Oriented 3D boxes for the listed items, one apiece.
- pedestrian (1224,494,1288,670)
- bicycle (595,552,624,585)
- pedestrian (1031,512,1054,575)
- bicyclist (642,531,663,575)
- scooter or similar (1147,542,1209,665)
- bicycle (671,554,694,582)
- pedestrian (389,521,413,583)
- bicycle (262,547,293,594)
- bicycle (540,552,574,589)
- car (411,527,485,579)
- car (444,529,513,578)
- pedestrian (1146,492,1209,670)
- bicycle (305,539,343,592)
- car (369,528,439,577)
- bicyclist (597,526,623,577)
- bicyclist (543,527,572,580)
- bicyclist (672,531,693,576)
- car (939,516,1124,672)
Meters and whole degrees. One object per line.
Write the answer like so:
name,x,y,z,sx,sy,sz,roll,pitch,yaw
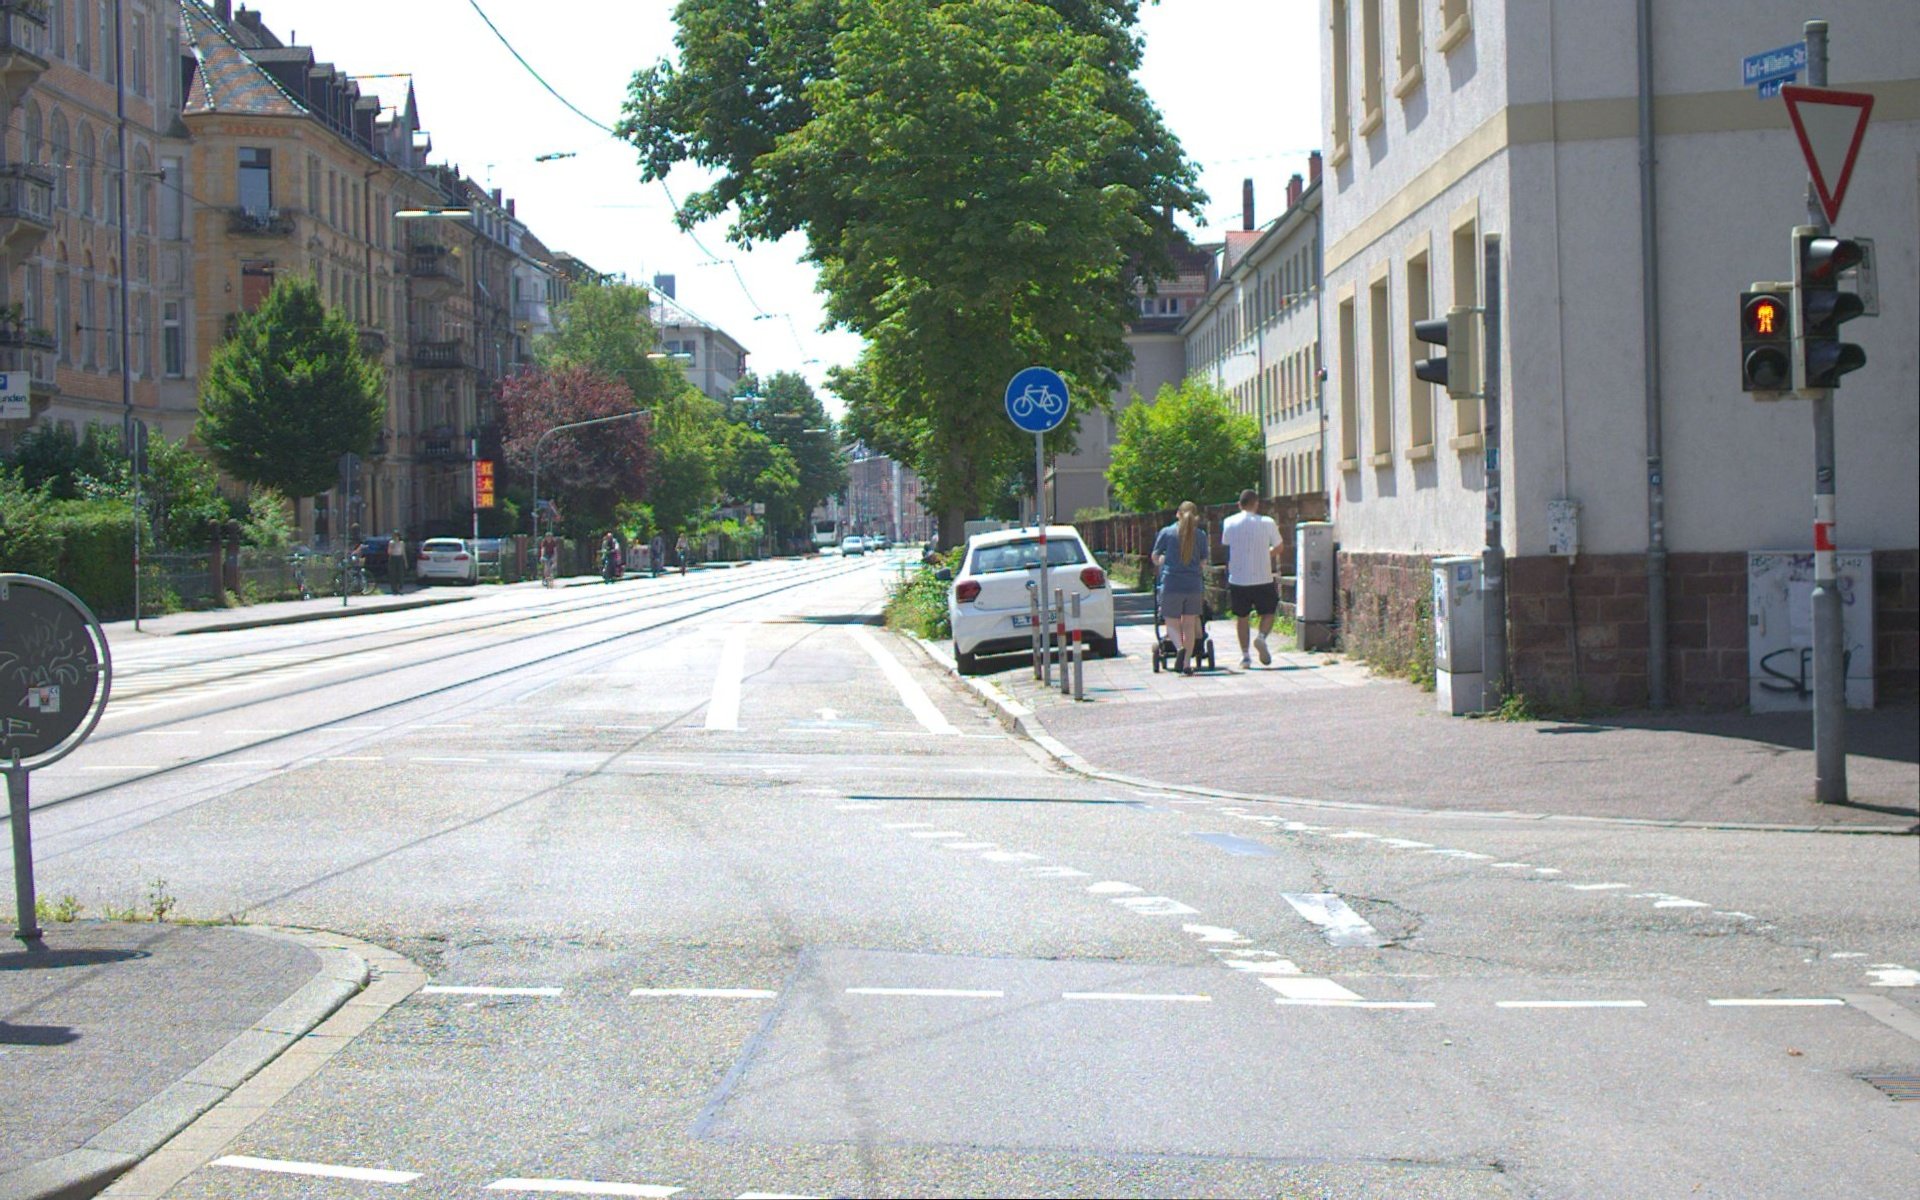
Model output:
pedestrian,2.788,-0.171,32.429,0.557,1.640,0.677,1,0,3
bicycle,-12.115,-1.074,118.831,0.727,1.119,2.085,1,1,1
pedestrian,2.071,-1.422,86.575,0.521,1.557,0.573,-1,1,-1
bicyclist,-12.707,-1.931,141.933,0.727,1.812,1.079,1,0,1
scooter or similar,2.096,0.026,33.150,0.557,1.151,1.205,1,0,3
bicycle,-11.438,-1.309,141.763,0.727,1.119,2.085,1,1,1
pedestrian,-14.912,-1.284,91.733,0.521,1.653,0.529,-1,1,-1
bicycle,-15.900,-0.699,80.036,0.677,1.061,1.919,-1,1,-11
bicycle,-12.381,-0.898,105.729,0.727,1.119,2.085,1,1,1
car,-17.183,-1.575,115.576,1.919,1.709,4.000,1,1,-1
car,-17.327,-1.660,123.840,1.919,1.709,4.000,1,1,-1
pedestrian,2.037,-0.179,32.206,0.557,1.640,0.677,1,0,3
bicycle,-15.657,-0.849,84.679,0.677,1.274,1.919,-1,1,-3
car,-20.013,-1.698,123.913,1.919,1.709,4.000,1,1,-1
bicyclist,-12.094,-1.682,118.823,0.727,1.762,1.079,1,0,1
bicyclist,-12.367,-1.423,105.730,0.727,1.623,1.079,1,0,1
bicyclist,-11.438,-1.912,141.847,0.727,1.812,1.079,1,0,1
car,0.722,-0.085,37.323,1.815,1.511,4.000,-3,1,-1
